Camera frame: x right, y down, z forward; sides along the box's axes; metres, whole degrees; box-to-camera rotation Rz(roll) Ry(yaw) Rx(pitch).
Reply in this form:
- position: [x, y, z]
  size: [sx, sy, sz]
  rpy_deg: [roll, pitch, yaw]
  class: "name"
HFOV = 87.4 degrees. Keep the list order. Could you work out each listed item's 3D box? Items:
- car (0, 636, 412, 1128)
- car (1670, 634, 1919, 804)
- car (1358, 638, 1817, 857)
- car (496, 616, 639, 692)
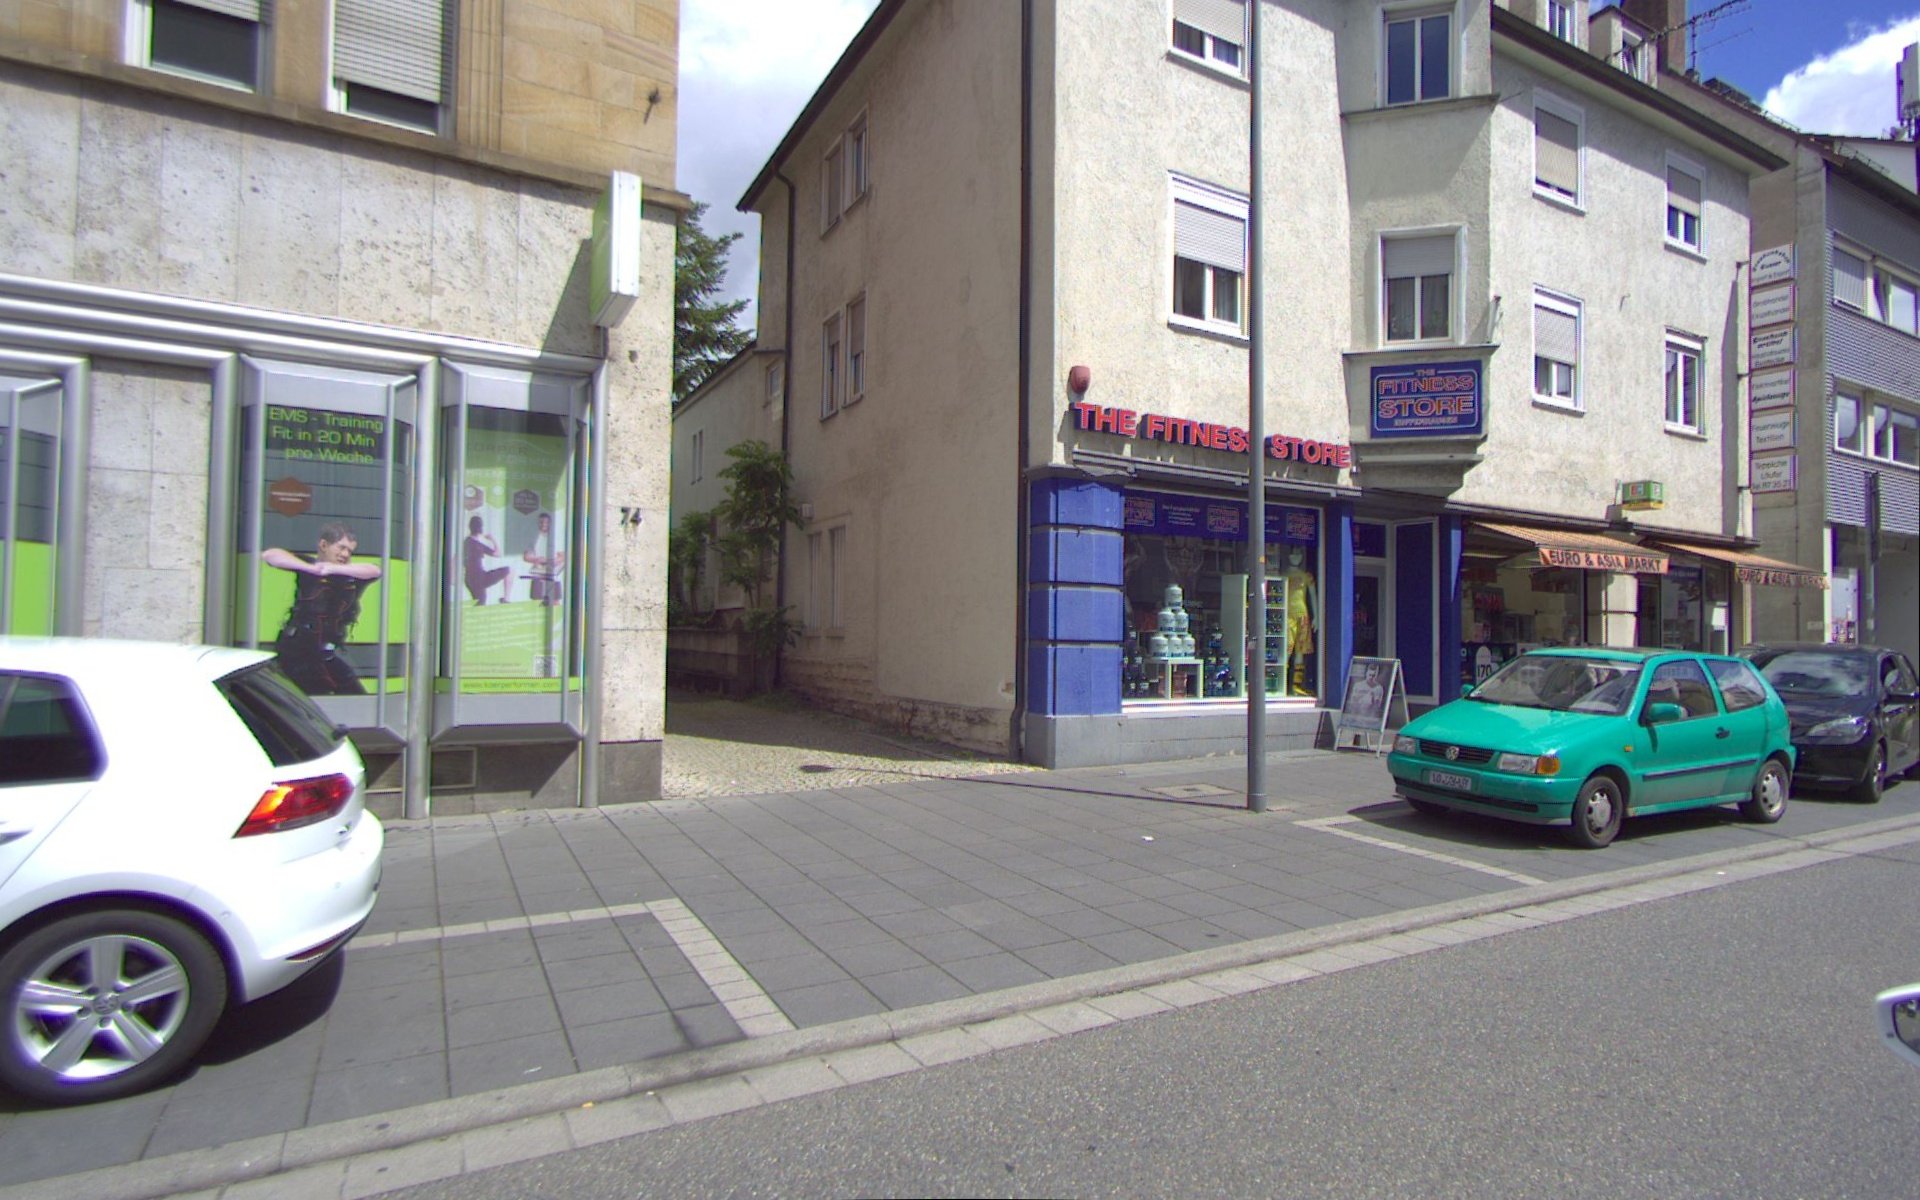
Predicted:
- position: [-4.161, 0.854, 3.342]
  size: [3.992, 1.416, 1.835]
  rpy_deg: [2, -1, -32]
  class: "car"
- position: [9.129, 1.150, 10.782]
  size: [3.528, 1.465, 1.584]
  rpy_deg: [3, -1, -40]
  class: "car"
- position: [5.263, 1.100, 8.388]
  size: [3.621, 1.433, 1.580]
  rpy_deg: [2, -1, -27]
  class: "car"
- position: [-8.363, 1.089, 21.213]
  size: [1.916, 1.350, 3.960]
  rpy_deg: [2, -1, -35]
  class: "car"
